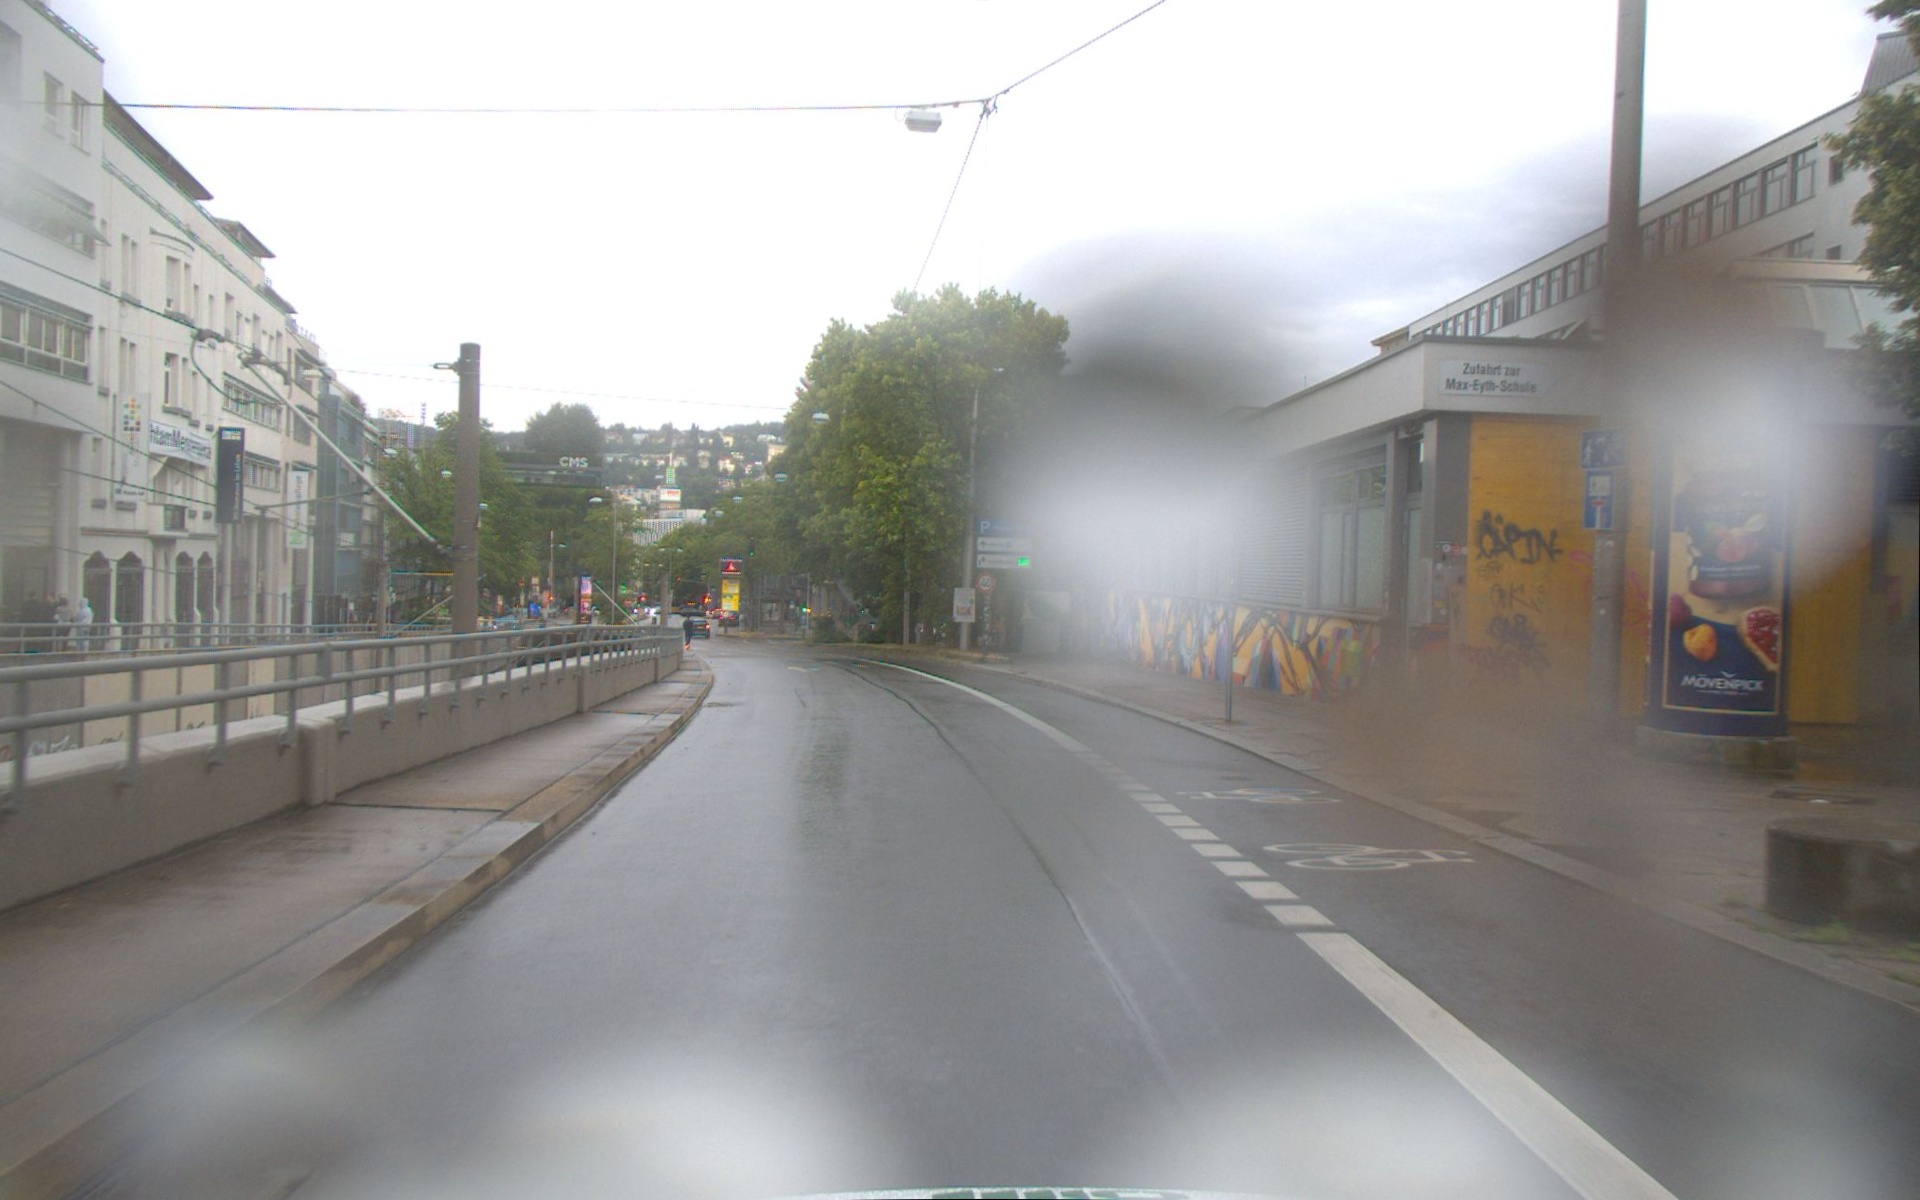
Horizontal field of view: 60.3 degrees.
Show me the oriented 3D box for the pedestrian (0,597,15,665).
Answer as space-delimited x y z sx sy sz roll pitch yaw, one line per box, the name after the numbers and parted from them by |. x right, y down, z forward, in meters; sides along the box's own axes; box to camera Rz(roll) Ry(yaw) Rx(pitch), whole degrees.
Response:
-23.619 0.746 40.575 0.663 1.644 0.934 2 -1 -28 | pedestrian

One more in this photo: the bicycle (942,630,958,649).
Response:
-0.615 2.403 100.339 0.791 1.131 2.195 1 -1 -6 | bicycle

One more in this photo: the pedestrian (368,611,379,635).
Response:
-42.845 1.692 120.785 0.653 1.701 0.486 1 -1 -14 | pedestrian

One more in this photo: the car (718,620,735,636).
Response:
-26.366 3.172 186.595 1.866 1.713 3.902 2 -1 -9 | car

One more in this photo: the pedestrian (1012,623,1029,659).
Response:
3.161 2.132 86.257 0.791 1.897 1.055 0 -1 -4 | pedestrian

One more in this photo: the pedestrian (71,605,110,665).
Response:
-24.712 0.981 47.020 0.779 1.671 0.671 1 -1 34 | pedestrian

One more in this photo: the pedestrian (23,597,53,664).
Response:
-25.592 0.845 45.906 0.663 1.816 0.934 2 -1 -28 | pedestrian

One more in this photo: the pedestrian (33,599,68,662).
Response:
-25.949 0.865 47.193 0.597 1.752 0.671 0 -1 37 | pedestrian

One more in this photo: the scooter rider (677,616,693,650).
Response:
-16.222 1.955 97.460 0.795 1.982 0.819 2 -1 -15 | scooter rider

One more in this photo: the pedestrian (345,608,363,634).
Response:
-44.930 1.547 122.639 0.846 1.901 0.960 1 -1 6 | pedestrian

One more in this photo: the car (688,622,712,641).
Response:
-21.983 2.683 139.943 1.716 1.546 4.093 2 -1 -13 | car

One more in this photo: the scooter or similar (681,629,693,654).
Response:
-16.088 2.430 97.406 0.537 1.443 1.948 2 -1 -14 | scooter or similar
